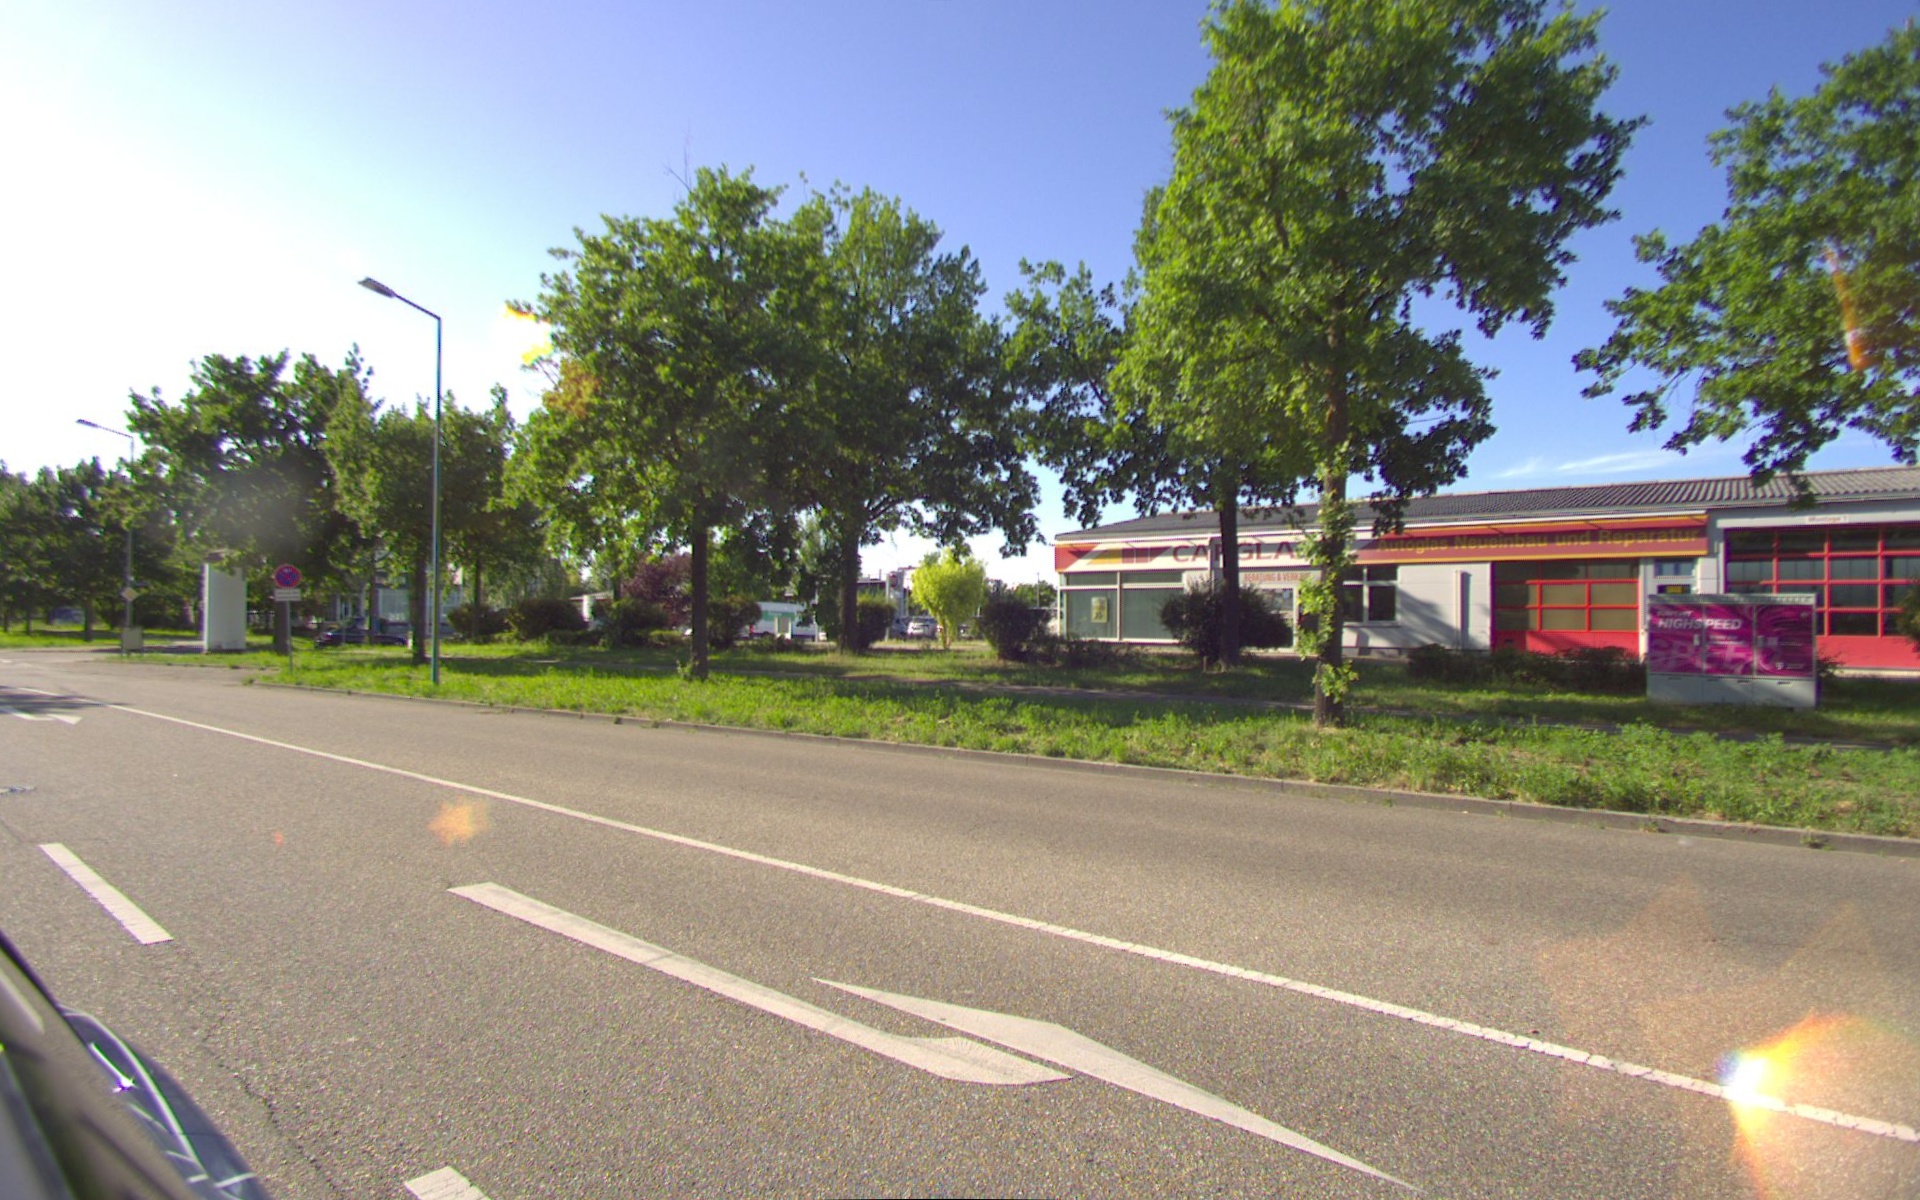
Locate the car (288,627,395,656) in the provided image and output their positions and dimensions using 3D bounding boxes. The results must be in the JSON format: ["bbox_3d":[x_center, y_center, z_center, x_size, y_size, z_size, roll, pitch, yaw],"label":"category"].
[{"bbox_3d":[-33.779,2.307,55.411,1.996,1.414,4.532,-1,-5,35],"label":"car"}]

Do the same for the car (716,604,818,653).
[{"bbox_3d":[-11.504,1.632,60.686,2.297,2.723,6.102,0,0,37],"label":"car"}]

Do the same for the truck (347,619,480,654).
[{"bbox_3d":[-34.113,2.261,63.383,2.138,2.065,7.043,0,-2,38],"label":"truck"}]

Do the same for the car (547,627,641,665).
[{"bbox_3d":[-26.644,3.299,73.980,2.297,2.535,6.280,0,0,37],"label":"car"}]

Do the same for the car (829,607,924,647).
[{"bbox_3d":[-4.589,1.484,56.205,2.297,2.085,5.359,-1,-2,37],"label":"car"}]

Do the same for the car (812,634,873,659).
[{"bbox_3d":[-6.761,2.657,58.534,1.572,1.312,3.489,-1,-1,38],"label":"car"}]
